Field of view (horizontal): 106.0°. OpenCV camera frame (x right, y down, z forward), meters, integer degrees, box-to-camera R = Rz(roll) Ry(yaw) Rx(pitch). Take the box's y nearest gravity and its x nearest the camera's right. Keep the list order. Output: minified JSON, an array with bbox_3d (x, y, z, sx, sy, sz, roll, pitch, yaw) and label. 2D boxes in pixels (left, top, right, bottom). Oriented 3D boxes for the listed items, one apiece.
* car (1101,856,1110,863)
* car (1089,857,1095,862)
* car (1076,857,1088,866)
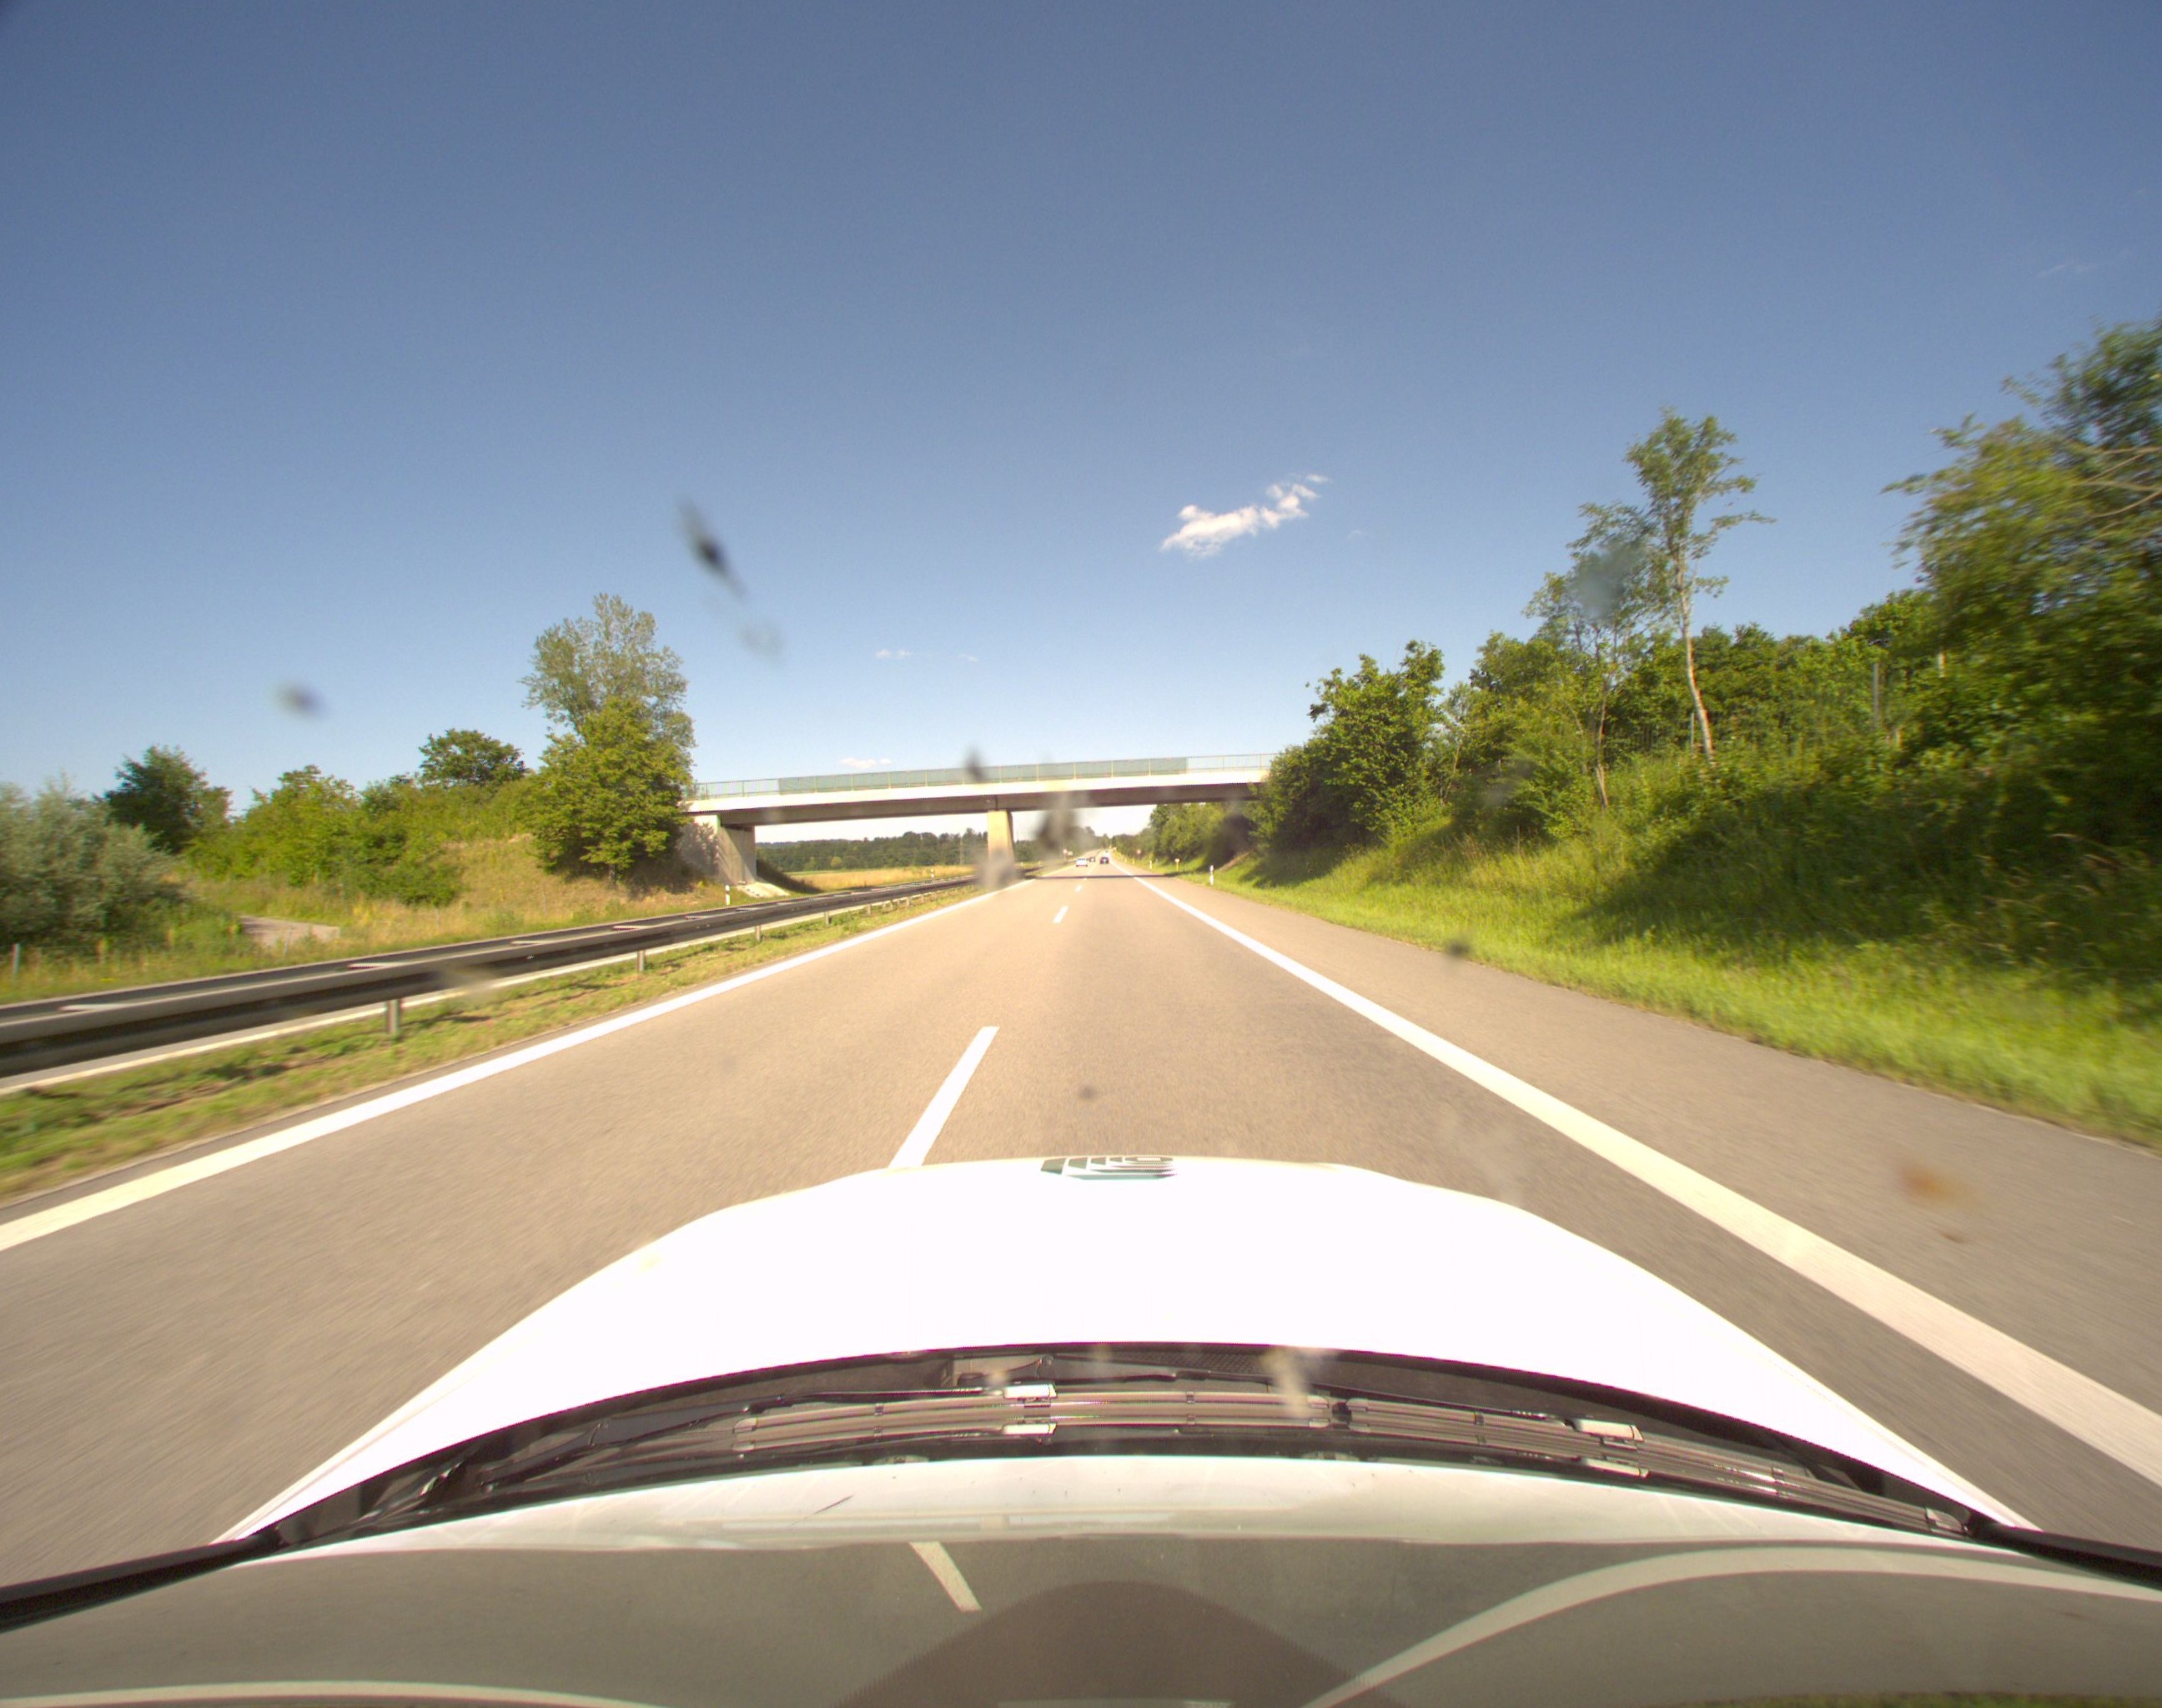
[{"bbox_3d":[4.973,1.099,164.633,1.836,1.520,4.000,0,-1,1],"label":"car"},{"bbox_3d":[3.155,1.571,239.063,1.836,1.436,4.000,0,-1,1],"label":"car"},{"bbox_3d":[0.240,1.190,130.206,1.836,1.416,4.000,0,-1,1],"label":"car"}]
